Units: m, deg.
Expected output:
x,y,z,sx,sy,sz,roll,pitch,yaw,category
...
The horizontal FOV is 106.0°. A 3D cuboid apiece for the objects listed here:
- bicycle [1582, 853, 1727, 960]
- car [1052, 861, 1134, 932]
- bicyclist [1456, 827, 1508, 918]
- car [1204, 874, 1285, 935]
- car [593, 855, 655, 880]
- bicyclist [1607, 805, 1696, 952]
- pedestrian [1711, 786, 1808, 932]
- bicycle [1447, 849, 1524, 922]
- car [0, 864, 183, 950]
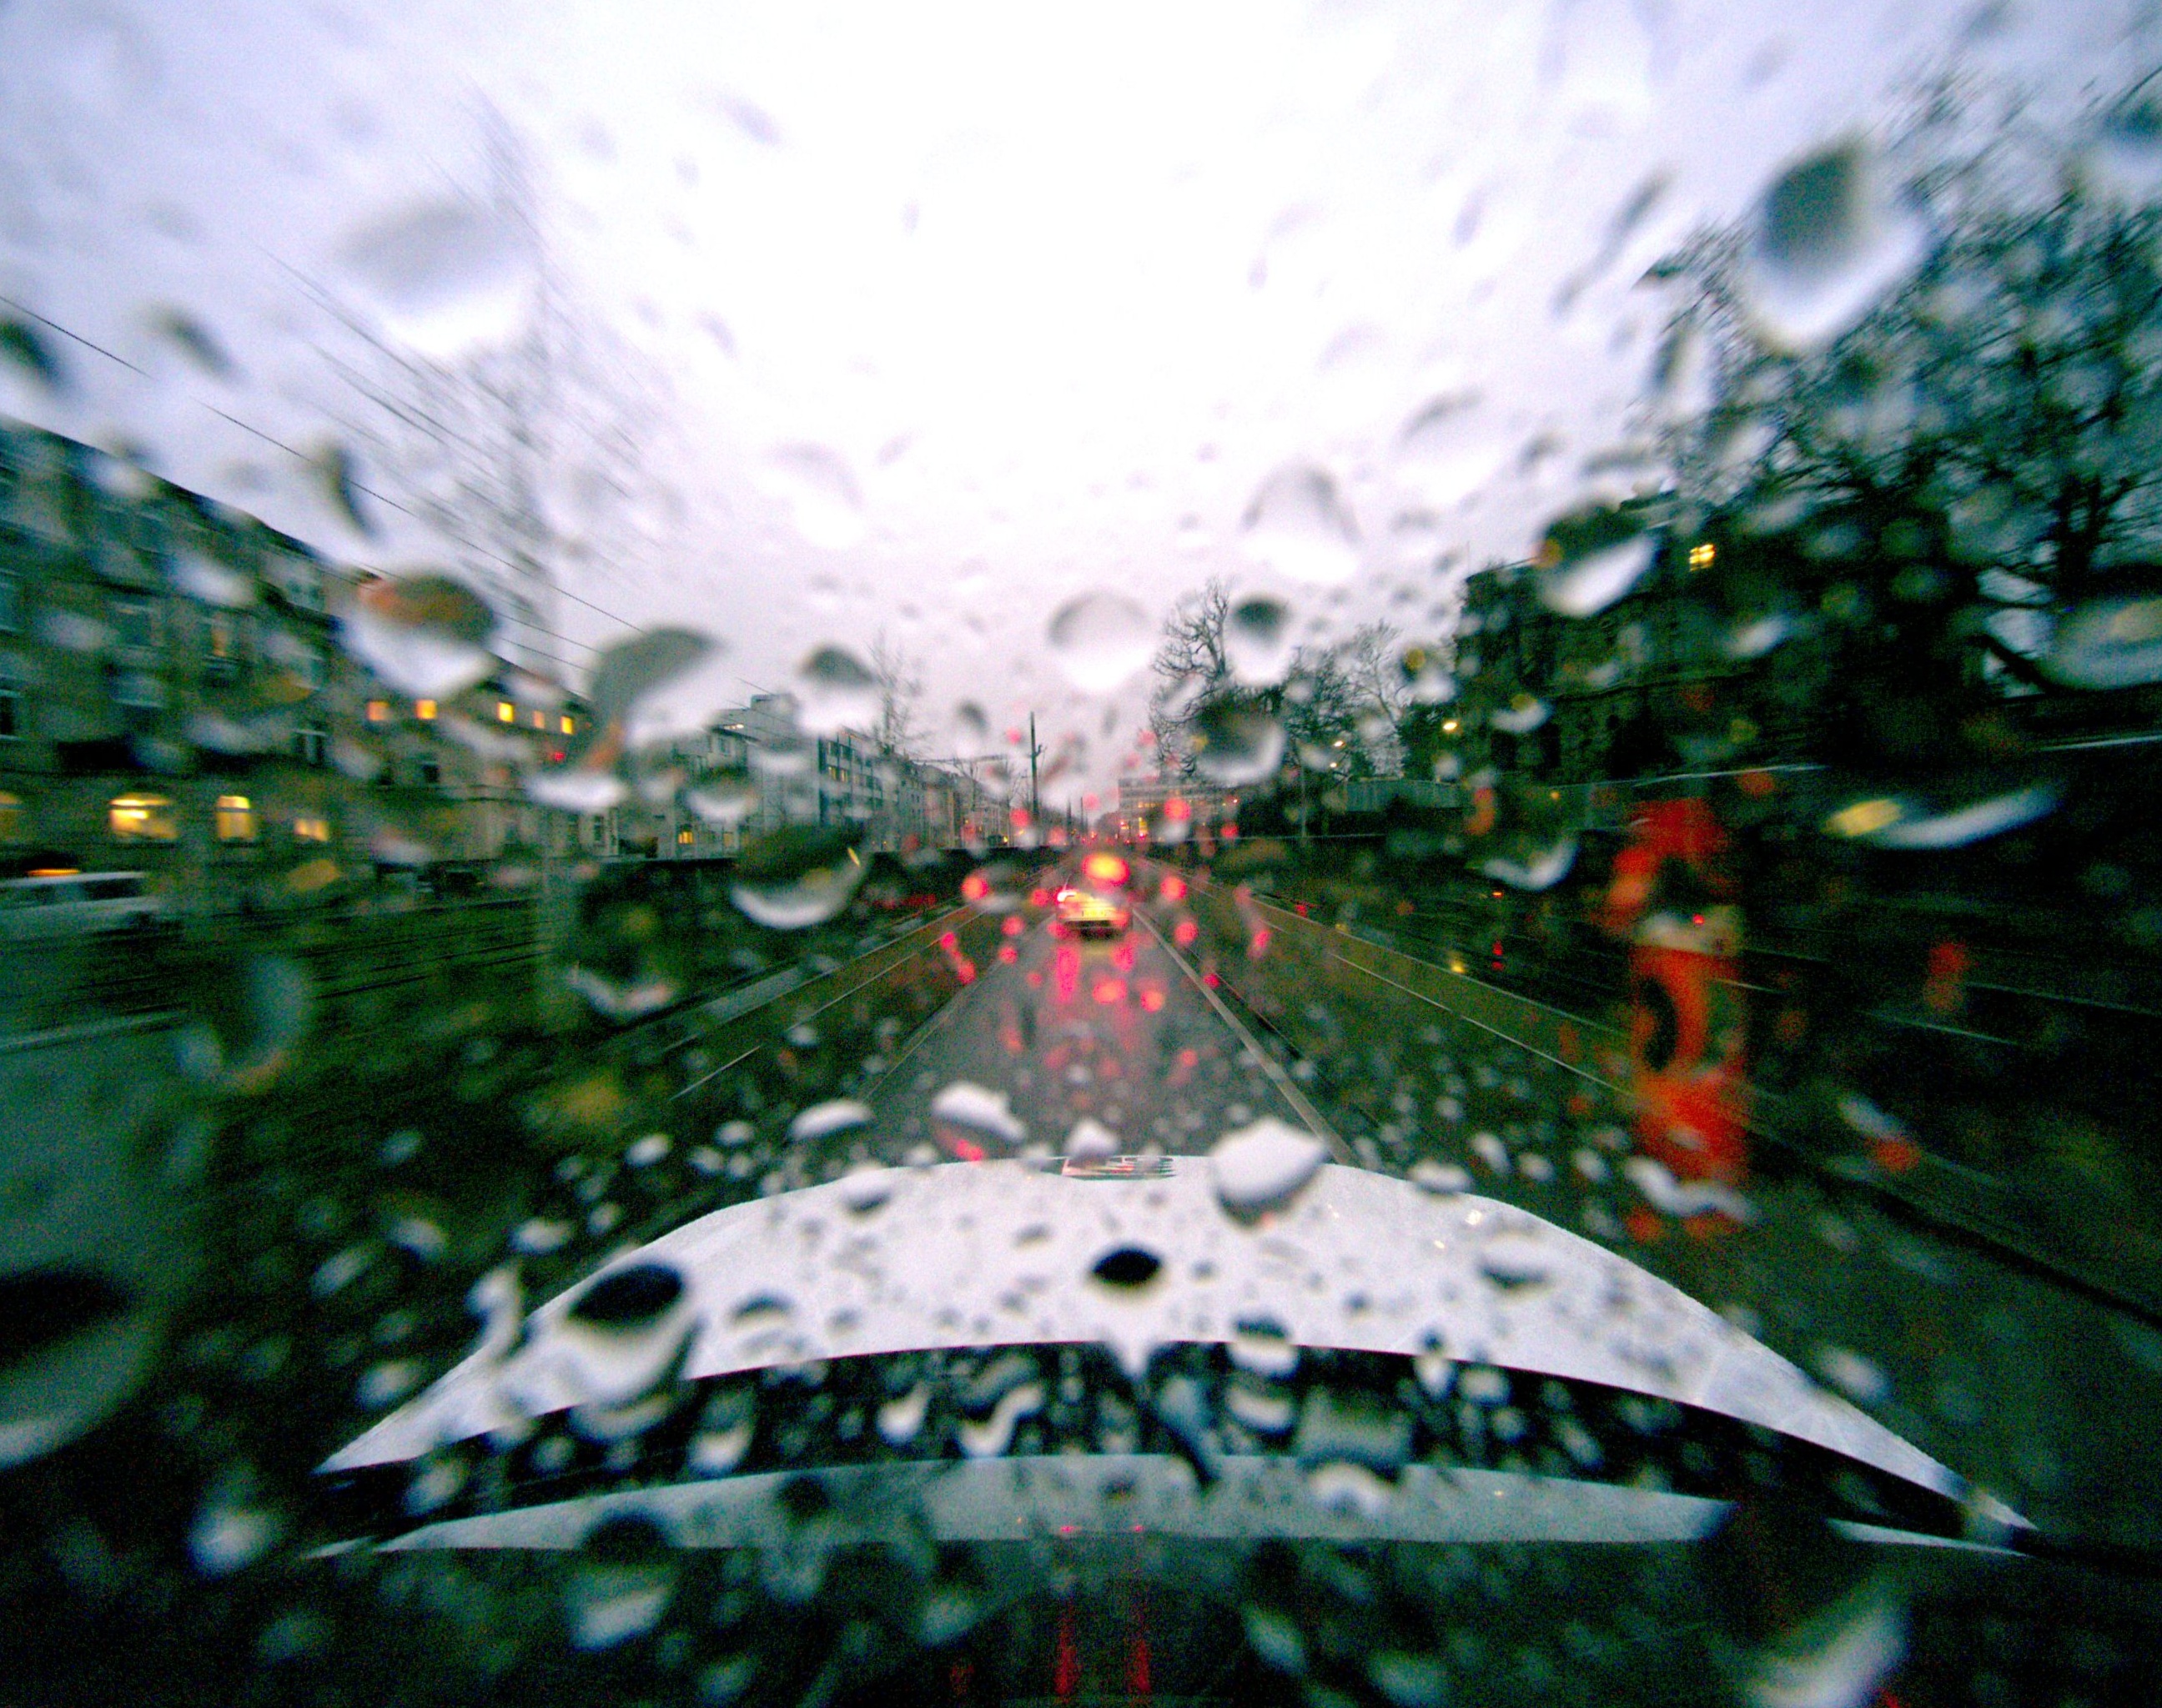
x,y,z,sx,sy,sz,roll,pitch,yaw,category
7.240,0.601,10.408,0.410,1.185,2.029,-2,1,0,bicycle
0.378,0.912,19.126,1.715,1.479,4.004,0,0,3,car
7.269,0.314,14.776,0.498,1.591,0.837,-2,1,0,bicyclist
4.545,1.350,23.126,1.715,1.479,4.004,0,0,3,car
-30.016,0.857,53.630,1.800,1.436,3.927,-3,1,0,car
7.199,0.293,10.310,0.498,1.767,0.837,-2,1,0,bicyclist
9.161,0.055,11.028,0.530,1.879,0.901,-2,1,0,pedestrian
7.276,0.524,14.731,0.410,1.185,1.948,-2,1,0,bicycle
-26.570,1.326,20.681,1.987,1.932,4.911,-3,1,0,car
